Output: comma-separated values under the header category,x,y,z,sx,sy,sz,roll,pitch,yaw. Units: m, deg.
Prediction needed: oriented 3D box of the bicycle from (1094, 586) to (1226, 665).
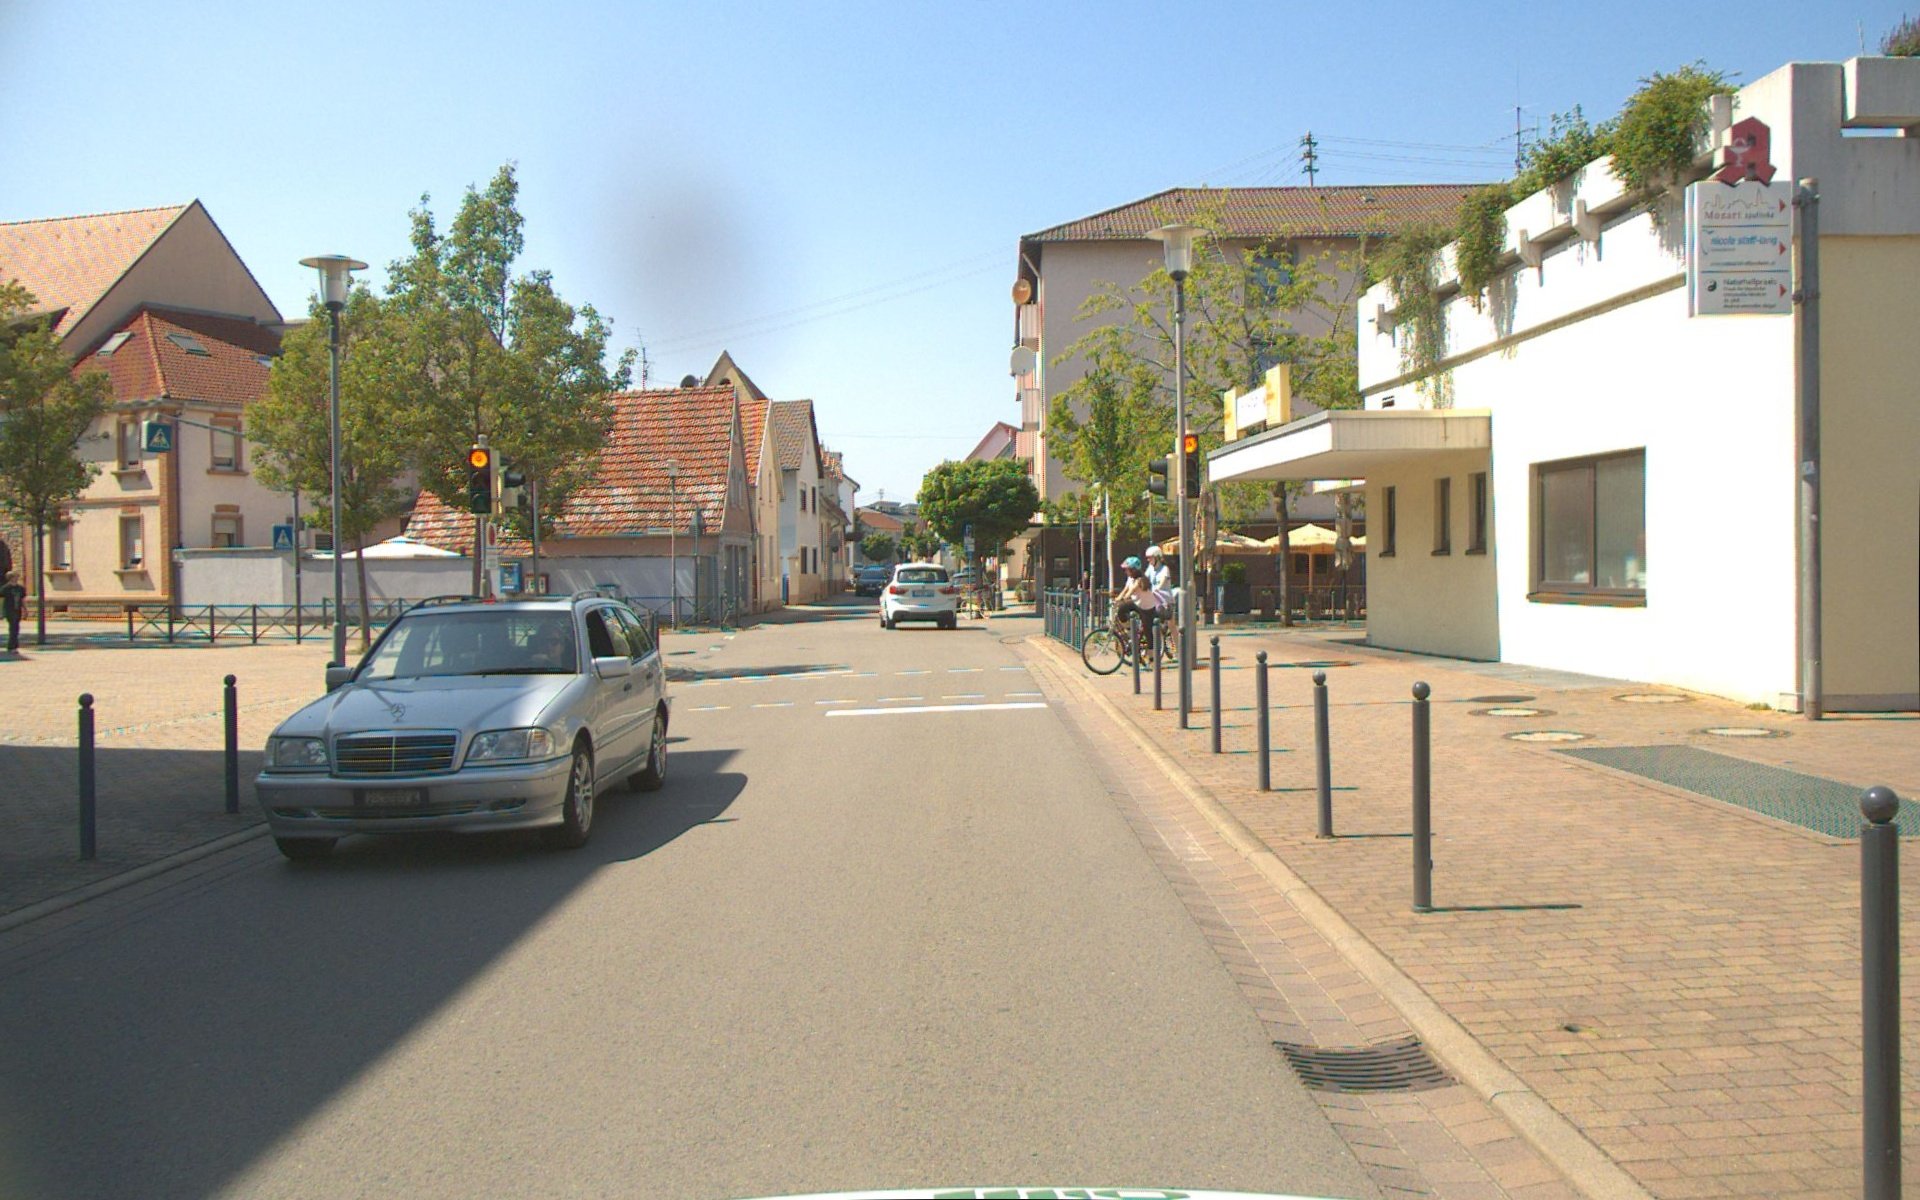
category,x,y,z,sx,sy,sz,roll,pitch,yaw
bicycle,2.824,0.348,23.271,1.875,0.974,0.667,-4,2,-36

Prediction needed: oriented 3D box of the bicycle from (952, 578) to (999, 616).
category,x,y,z,sx,sy,sz,roll,pitch,yaw
bicycle,0.483,-0.101,53.665,0.523,1.214,1.648,-2,1,-43

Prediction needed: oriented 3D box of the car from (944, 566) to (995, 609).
category,x,y,z,sx,sy,sz,roll,pitch,yaw
car,0.390,-0.499,62.436,1.767,1.527,4.002,-1,2,2

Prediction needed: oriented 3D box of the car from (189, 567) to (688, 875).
category,x,y,z,sx,sy,sz,roll,pitch,yaw
car,-3.048,0.602,10.741,1.842,1.489,4.435,-3,1,-1

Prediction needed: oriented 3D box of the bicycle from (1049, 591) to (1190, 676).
category,x,y,z,sx,sy,sz,roll,pitch,yaw
bicycle,2.104,0.421,21.710,1.877,0.974,0.667,-4,2,-39

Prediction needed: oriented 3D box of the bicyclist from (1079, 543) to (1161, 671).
category,x,y,z,sx,sy,sz,roll,pitch,yaw
bicyclist,2.103,0.082,21.716,0.754,1.609,0.662,-4,2,-38

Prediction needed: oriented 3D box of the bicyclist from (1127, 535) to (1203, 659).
category,x,y,z,sx,sy,sz,roll,pitch,yaw
bicyclist,2.885,-0.051,23.326,0.753,1.693,0.662,-4,1,-36

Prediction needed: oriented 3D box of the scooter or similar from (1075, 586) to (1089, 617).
category,x,y,z,sx,sy,sz,roll,pitch,yaw
scooter or similar,3.674,0.041,49.702,0.371,0.889,0.891,-1,1,7

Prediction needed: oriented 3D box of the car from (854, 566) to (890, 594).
category,x,y,z,sx,sy,sz,roll,pitch,yaw
car,-4.958,-1.135,93.299,1.678,1.543,3.787,-1,1,2

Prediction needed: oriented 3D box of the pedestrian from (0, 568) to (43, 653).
category,x,y,z,sx,sy,sz,roll,pitch,yaw
pedestrian,-19.072,0.205,33.410,0.807,1.683,0.839,0,0,-41

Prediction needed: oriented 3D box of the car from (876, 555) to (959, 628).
category,x,y,z,sx,sy,sz,roll,pitch,yaw
car,-1.127,-0.255,42.065,1.798,1.680,3.996,-1,2,-6
